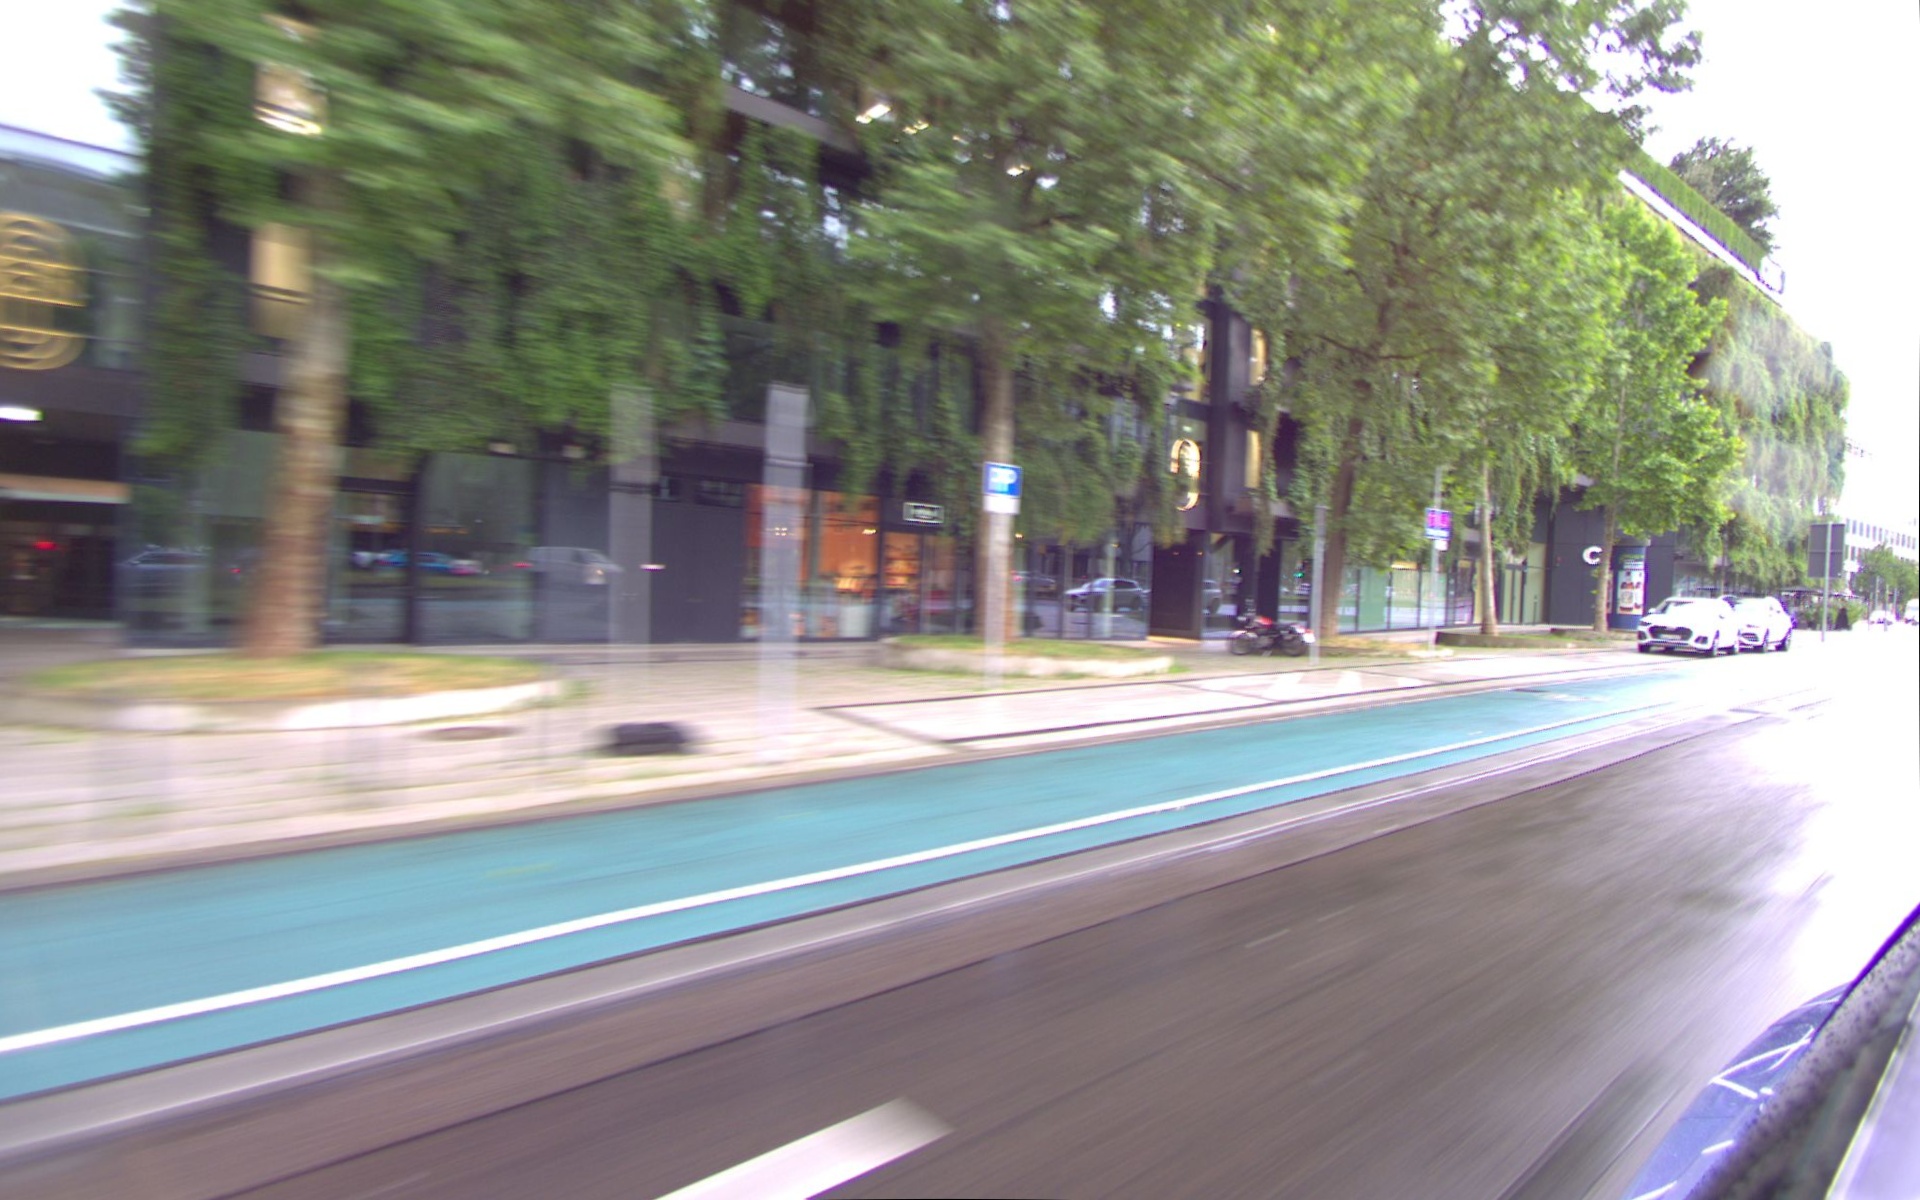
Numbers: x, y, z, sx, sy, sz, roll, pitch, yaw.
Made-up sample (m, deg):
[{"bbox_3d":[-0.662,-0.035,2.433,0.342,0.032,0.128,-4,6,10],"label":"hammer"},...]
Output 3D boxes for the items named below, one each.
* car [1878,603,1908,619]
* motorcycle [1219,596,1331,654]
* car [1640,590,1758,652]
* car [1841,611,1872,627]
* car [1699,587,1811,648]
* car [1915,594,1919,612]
[{"bbox_3d":[95.732,1.104,103.807,4.589,1.571,1.738,1,1,-41],"label":"car"},{"bbox_3d":[7.331,0.557,23.638,1.034,1.286,2.311,1,-1,-41],"label":"motorcycle"},{"bbox_3d":[21.891,0.600,29.919,4.703,1.653,1.847,1,1,-42],"label":"car"},{"bbox_3d":[92.373,1.905,104.258,4.589,1.571,1.738,1,1,-41],"label":"car"},{"bbox_3d":[26.505,0.544,33.681,5.002,1.861,1.848,1,1,-39],"label":"car"},{"bbox_3d":[108.086,0.361,112.835,3.930,2.039,1.997,1,1,-41],"label":"car"}]
